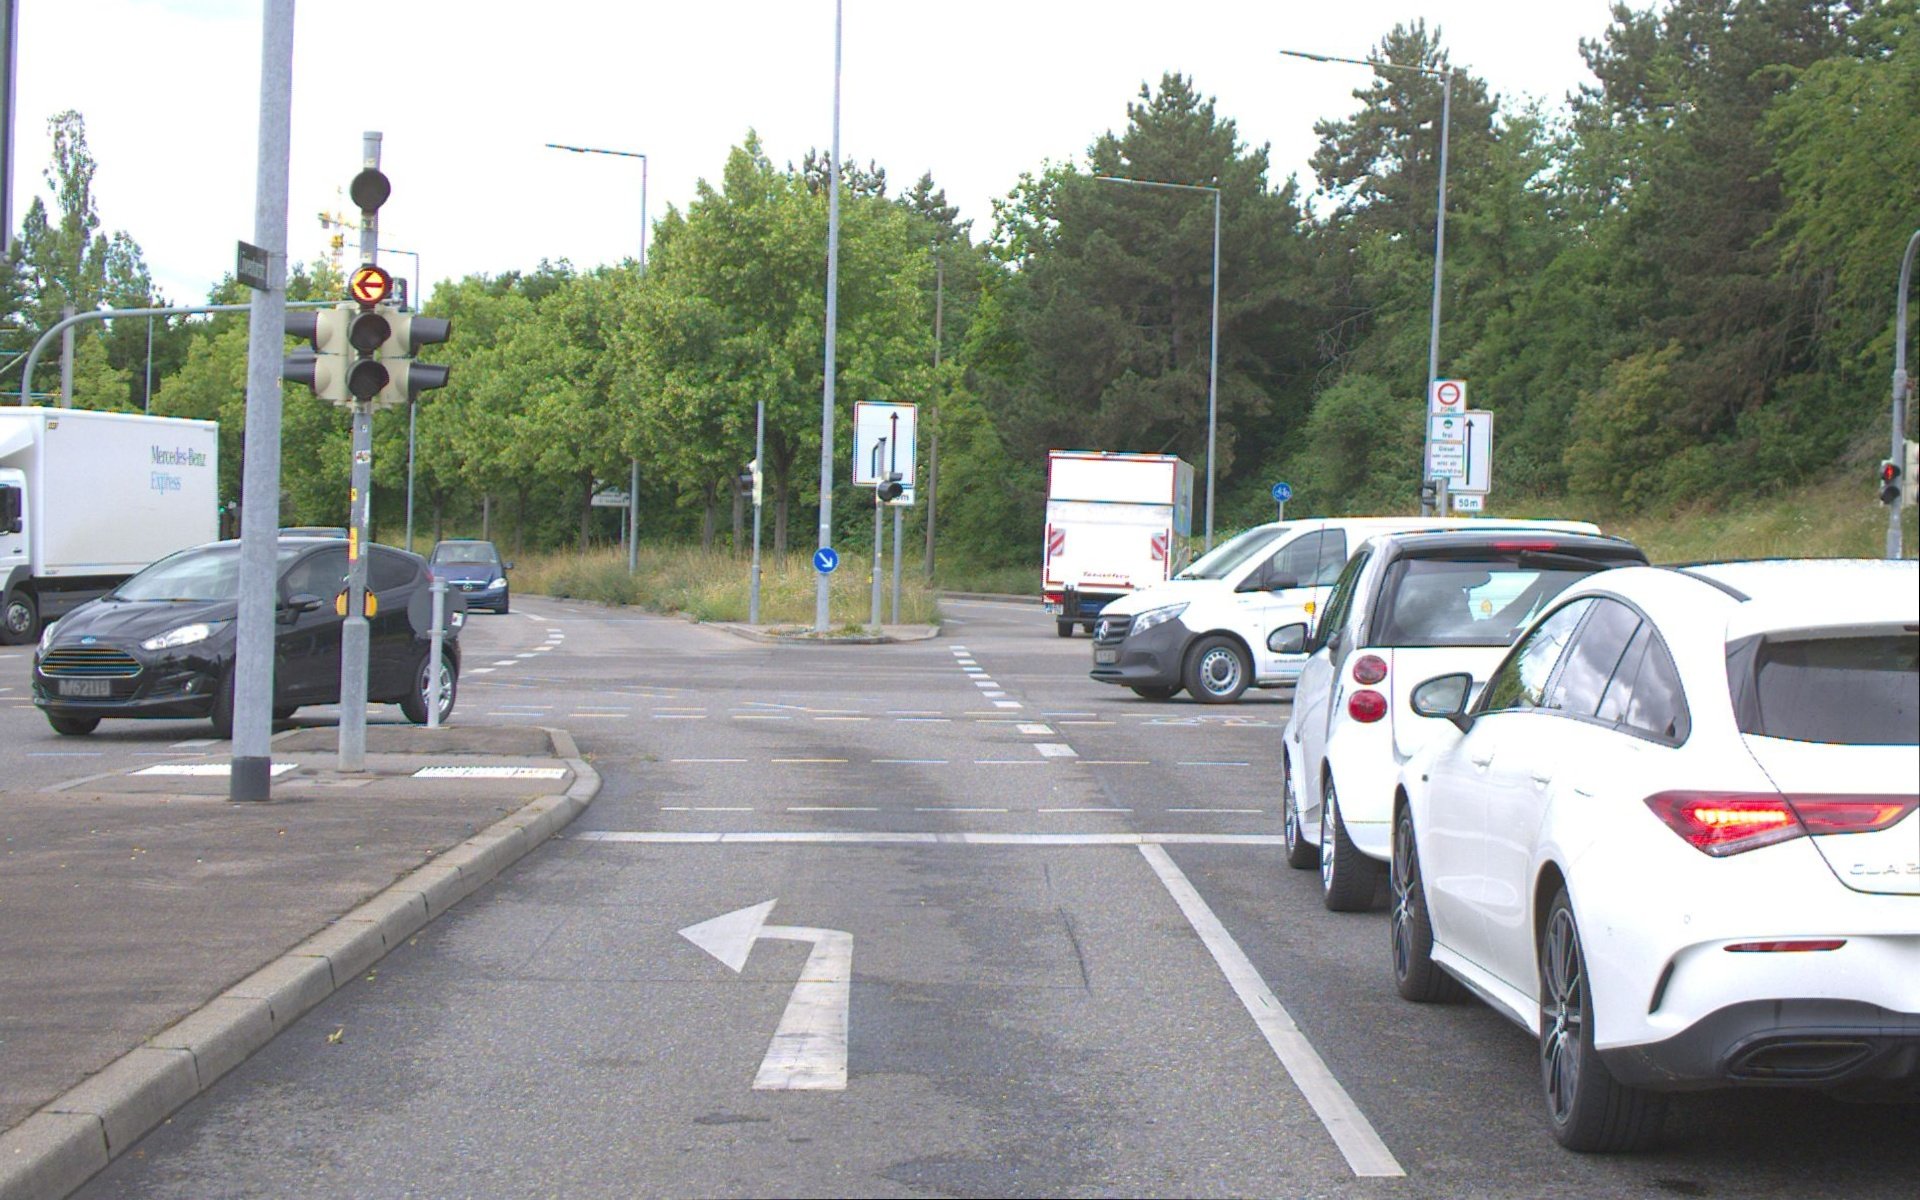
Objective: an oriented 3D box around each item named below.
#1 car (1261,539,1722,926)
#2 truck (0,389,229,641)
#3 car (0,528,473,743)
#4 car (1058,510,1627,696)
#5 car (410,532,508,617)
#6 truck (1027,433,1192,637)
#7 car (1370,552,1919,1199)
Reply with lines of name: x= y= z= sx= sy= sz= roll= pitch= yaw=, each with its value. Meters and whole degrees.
car: x=2.189 y=0.494 z=14.736 sx=1.535 sy=1.499 sz=2.670 roll=0 pitch=1 yaw=0
truck: x=-14.498 y=-1.312 z=54.169 sx=2.661 sy=3.636 sz=9.499 roll=1 pitch=1 yaw=8
car: x=-5.432 y=0.205 z=26.069 sx=1.636 sy=1.474 sz=3.772 roll=1 pitch=2 yaw=25
car: x=3.889 y=0.061 z=35.093 sx=5.417 sy=1.809 sz=2.000 roll=0 pitch=-1 yaw=-16
car: x=-10.721 y=-0.565 z=73.804 sx=1.915 sy=1.570 sz=4.002 roll=0 pitch=4 yaw=-6
truck: x=2.887 y=-1.249 z=64.567 sx=2.683 sy=3.586 sz=7.263 roll=1 pitch=2 yaw=5
car: x=2.268 y=0.598 z=9.457 sx=1.721 sy=1.417 sz=4.357 roll=0 pitch=1 yaw=0
